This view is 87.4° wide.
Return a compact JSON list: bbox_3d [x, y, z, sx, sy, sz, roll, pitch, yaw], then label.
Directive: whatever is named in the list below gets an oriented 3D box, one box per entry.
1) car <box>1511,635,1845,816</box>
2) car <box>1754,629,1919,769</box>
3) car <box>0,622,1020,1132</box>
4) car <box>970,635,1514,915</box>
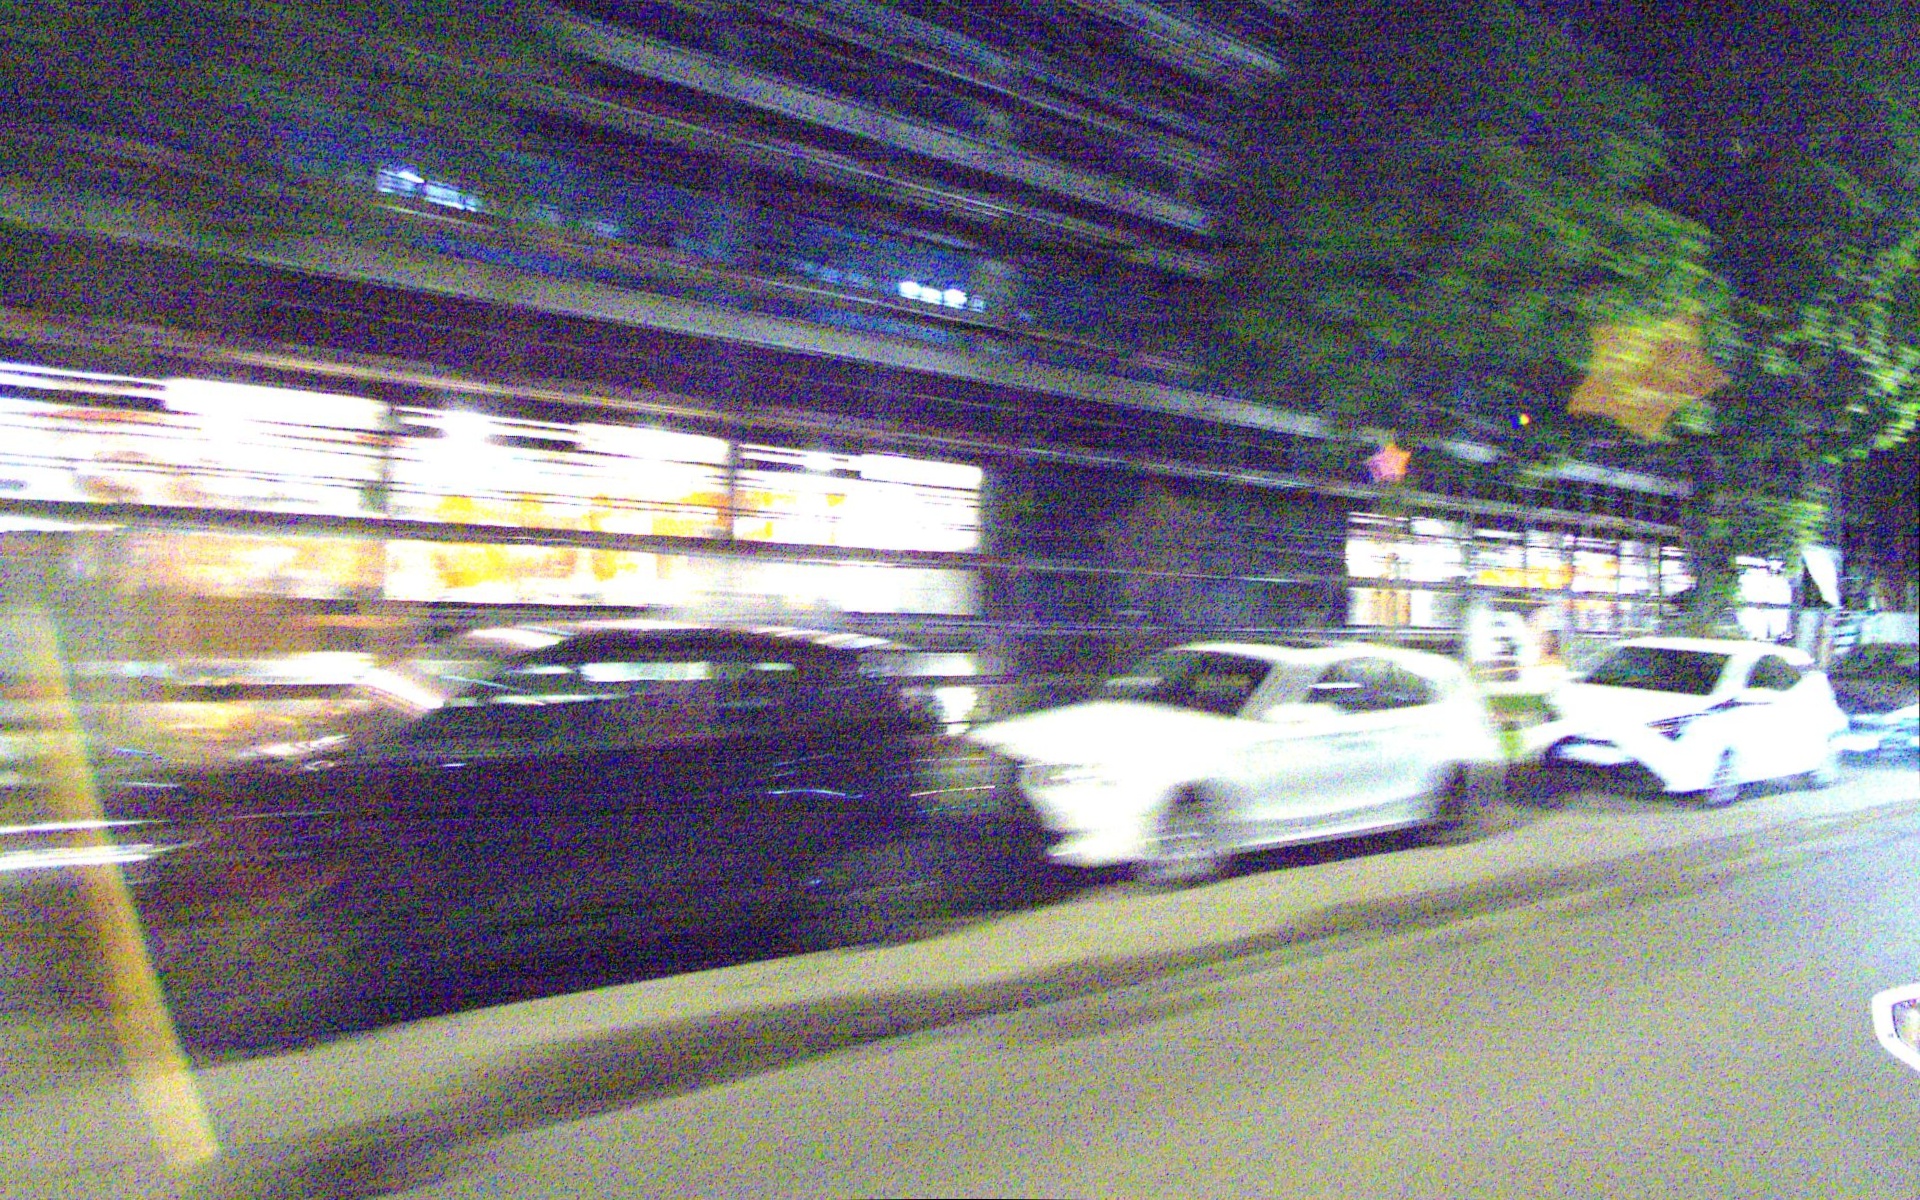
[{"bbox_3d":[7.290,1.135,10.158,3.329,1.475,1.539,1,1,-31],"label":"car"},{"bbox_3d":[12.286,1.194,13.195,3.817,1.525,1.637,1,1,-31],"label":"car"},{"bbox_3d":[-1.775,0.914,4.812,3.859,1.524,1.634,1,1,-31],"label":"car"},{"bbox_3d":[2.097,1.018,7.118,3.859,1.449,1.437,1,1,-31],"label":"car"}]
